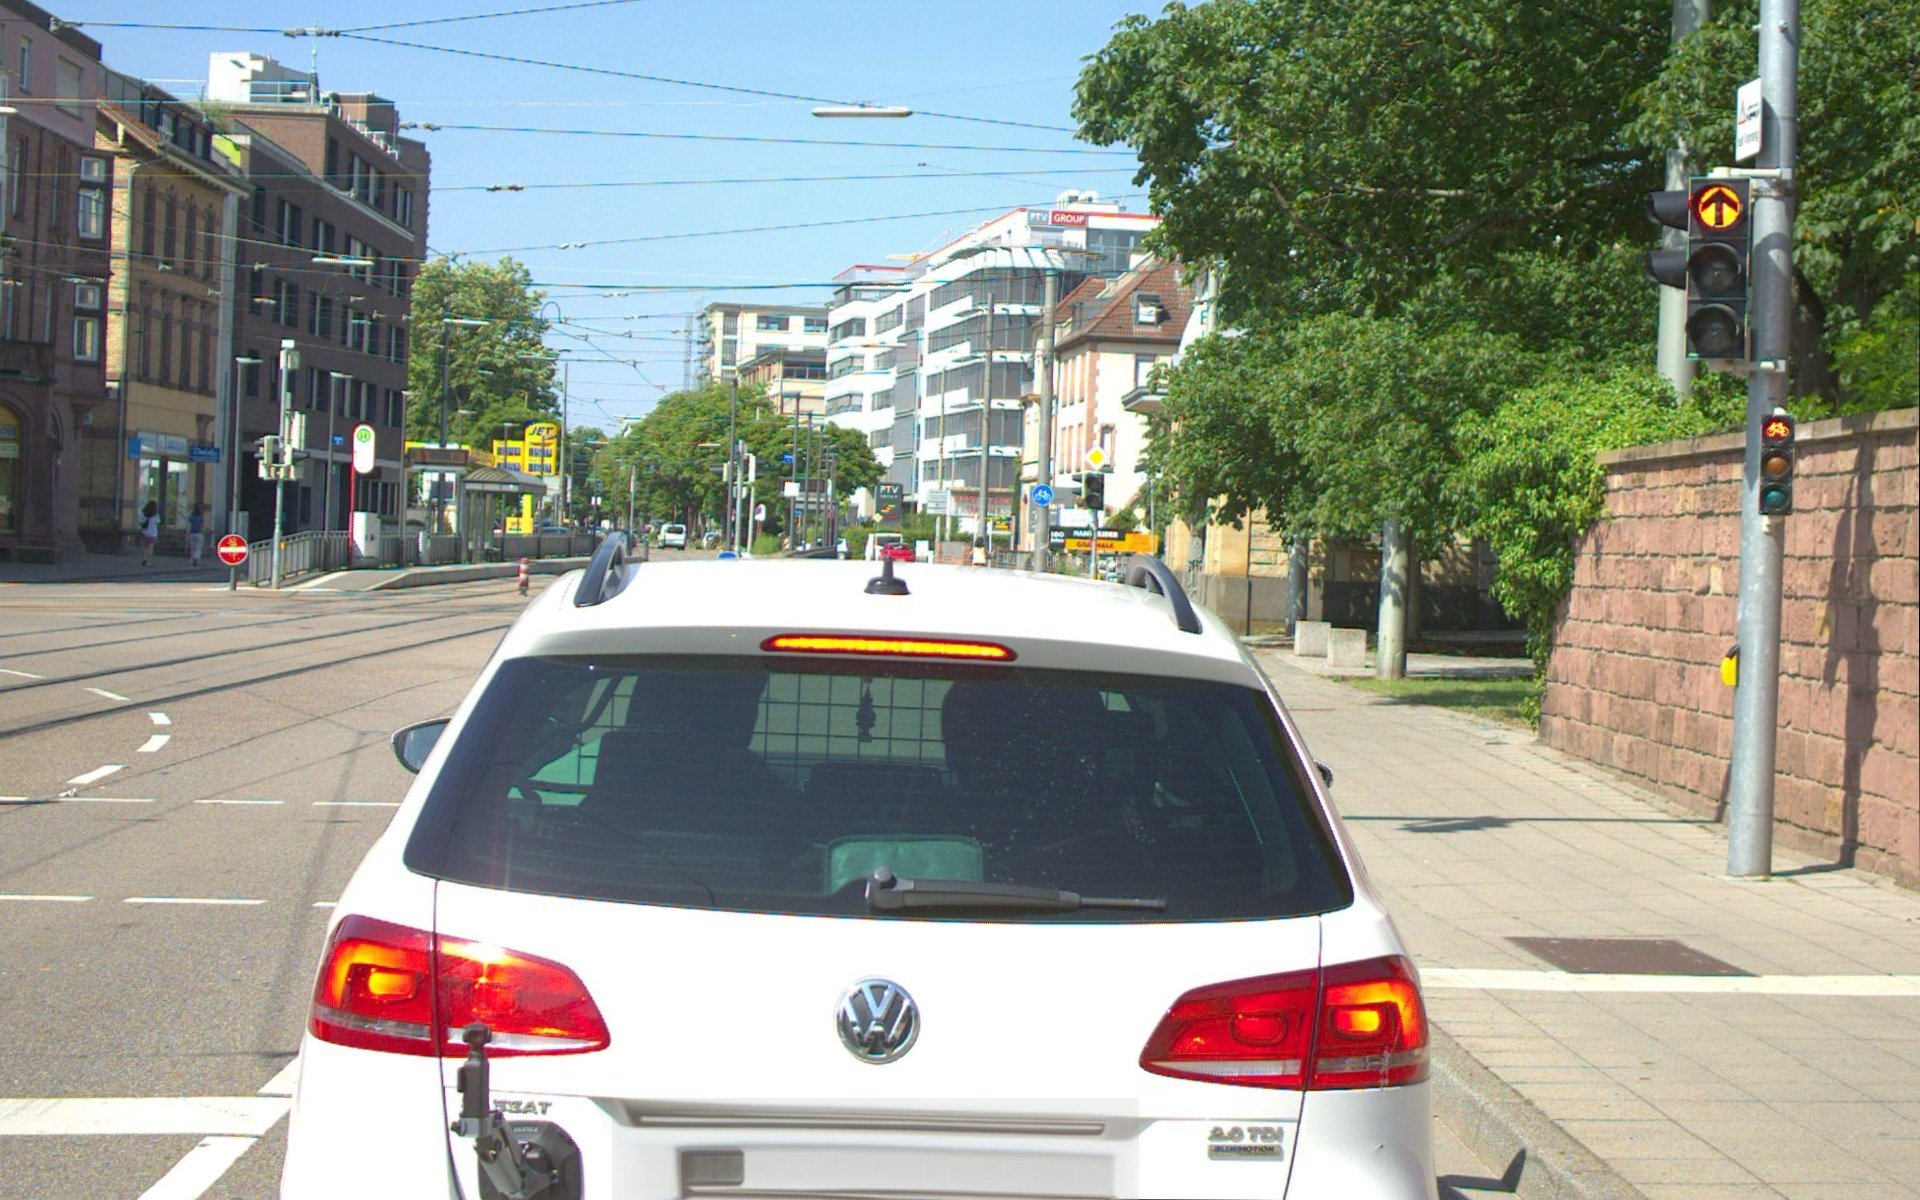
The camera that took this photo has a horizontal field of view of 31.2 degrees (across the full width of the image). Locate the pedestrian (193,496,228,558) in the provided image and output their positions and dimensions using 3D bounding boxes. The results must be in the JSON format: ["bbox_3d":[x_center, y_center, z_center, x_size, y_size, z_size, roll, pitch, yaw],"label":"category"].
[{"bbox_3d":[-21.496,-2.094,98.624,0.861,1.737,0.975,0,0,-6],"label":"pedestrian"}]

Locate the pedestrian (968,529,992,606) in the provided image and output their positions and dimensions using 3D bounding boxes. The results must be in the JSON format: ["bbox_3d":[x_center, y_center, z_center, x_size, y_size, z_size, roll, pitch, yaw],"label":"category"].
[{"bbox_3d":[0.602,-0.972,103.972,0.690,2.317,1.232,0,0,1],"label":"pedestrian"}]

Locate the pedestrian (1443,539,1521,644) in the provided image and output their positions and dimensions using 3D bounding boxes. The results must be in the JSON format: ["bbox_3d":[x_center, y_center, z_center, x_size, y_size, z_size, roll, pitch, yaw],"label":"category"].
[{"bbox_3d":[8.671,-0.144,57.112,0.974,1.737,0.862,0,0,36],"label":"pedestrian"}]

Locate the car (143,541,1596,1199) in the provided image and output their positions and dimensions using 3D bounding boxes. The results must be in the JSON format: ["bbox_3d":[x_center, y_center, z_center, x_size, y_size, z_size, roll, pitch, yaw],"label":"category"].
[{"bbox_3d":[-0.154,0.652,6.347,1.808,1.443,4.000,2,1,-1],"label":"car"}]

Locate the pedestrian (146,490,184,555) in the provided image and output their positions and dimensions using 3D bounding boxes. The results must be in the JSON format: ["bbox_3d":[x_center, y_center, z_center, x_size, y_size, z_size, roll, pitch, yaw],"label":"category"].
[{"bbox_3d":[-21.432,-2.076,92.667,0.861,1.737,0.975,0,0,-6],"label":"pedestrian"}]
